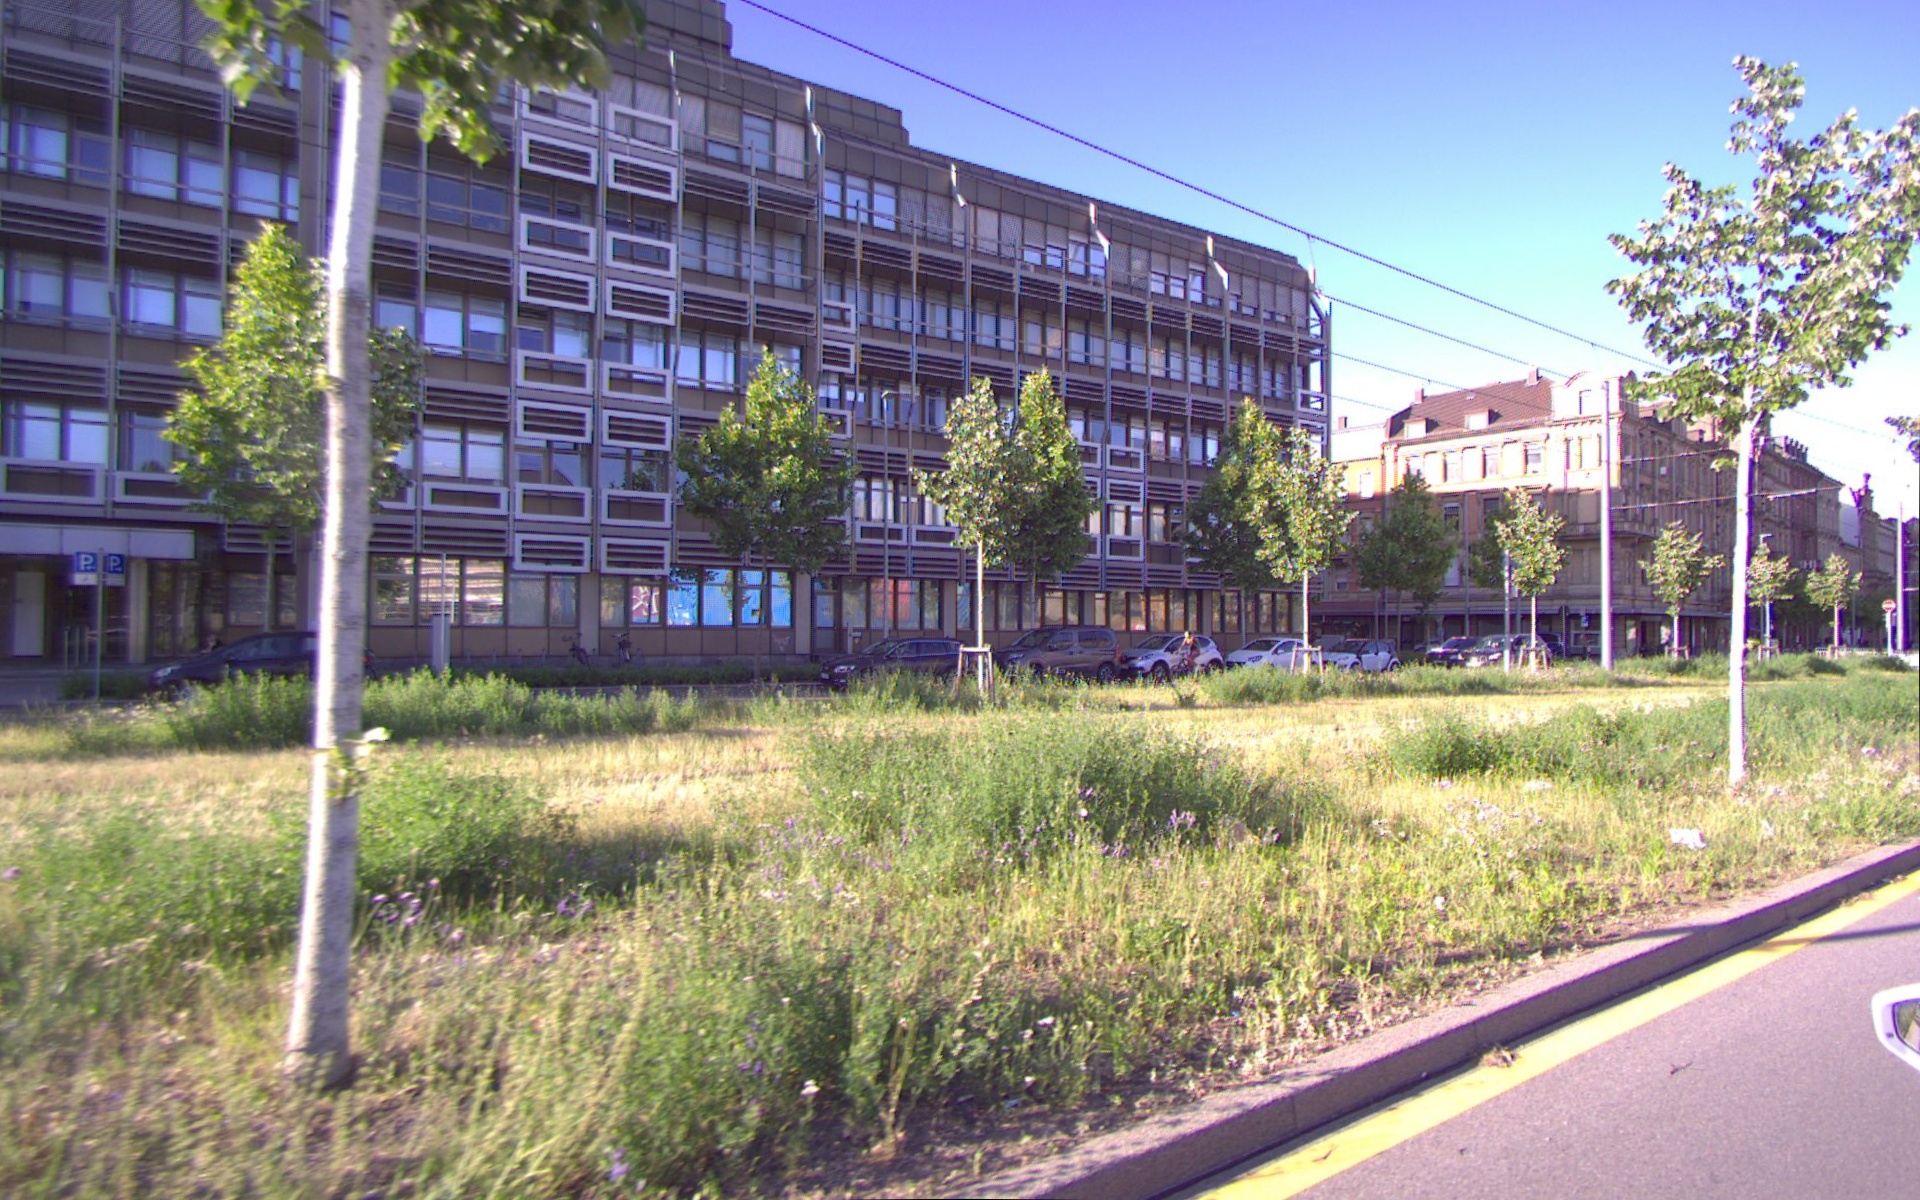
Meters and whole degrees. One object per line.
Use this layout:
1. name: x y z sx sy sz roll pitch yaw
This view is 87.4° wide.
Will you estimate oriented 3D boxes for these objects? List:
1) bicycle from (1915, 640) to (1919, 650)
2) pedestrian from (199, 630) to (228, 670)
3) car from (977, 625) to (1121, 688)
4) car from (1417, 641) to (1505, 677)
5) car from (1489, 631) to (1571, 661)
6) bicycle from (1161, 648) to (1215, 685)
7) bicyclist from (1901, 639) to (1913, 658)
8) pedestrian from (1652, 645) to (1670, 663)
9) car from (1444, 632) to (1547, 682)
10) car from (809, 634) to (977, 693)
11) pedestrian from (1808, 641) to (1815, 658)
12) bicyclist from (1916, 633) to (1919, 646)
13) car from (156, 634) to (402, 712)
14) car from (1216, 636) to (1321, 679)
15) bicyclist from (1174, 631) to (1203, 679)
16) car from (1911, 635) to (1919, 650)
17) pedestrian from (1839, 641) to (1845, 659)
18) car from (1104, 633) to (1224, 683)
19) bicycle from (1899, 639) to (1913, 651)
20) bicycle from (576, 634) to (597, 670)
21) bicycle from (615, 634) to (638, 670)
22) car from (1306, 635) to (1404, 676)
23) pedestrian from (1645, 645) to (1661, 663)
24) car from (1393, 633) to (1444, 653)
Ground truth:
1. bicycle: 91.853 4.301 95.985 2.014 0.869 0.632 2 -2 -39
2. pedestrian: -18.893 1.262 25.427 0.492 0.999 0.614 1 -2 -29
3. car: 2.785 1.711 31.208 4.283 1.795 1.741 1 -1 -32
4. car: 22.406 2.605 44.897 3.856 1.481 1.721 1 0 -32
5. car: 38.529 3.092 67.965 1.885 1.928 4.466 2 -3 -43
6. bicycle: 7.057 2.036 31.104 1.752 1.110 0.562 1 -3 -34
7. bicyclist: 84.163 4.283 89.290 0.875 1.679 0.689 2 -2 -39
8. pedestrian: 49.717 3.814 71.252 0.921 1.224 0.785 2 -2 -39
9. car: 19.981 2.094 37.456 4.079 1.770 1.717 2 -2 -34
10. car: -1.830 1.732 28.161 4.456 1.488 1.719 1 0 -34
11. pedestrian: 81.369 4.734 95.999 0.422 1.606 0.400 2 0 -40
12. bicyclist: 91.792 3.740 95.934 0.732 1.256 0.632 2 -2 -39
13. car: -13.777 1.448 20.601 3.994 1.405 1.707 2 -1 -32
14. car: 11.324 2.081 36.775 3.777 1.460 1.616 2 -1 -32
15. bicyclist: 7.075 1.698 31.102 0.698 1.476 0.562 1 -2 -33
16. car: 104.628 4.573 109.013 4.676 1.583 1.553 2 -2 -40
17. pedestrian: 90.636 5.120 103.232 0.403 1.788 0.364 2 0 -40
18. car: 6.896 1.919 33.885 3.841 1.556 1.728 1 -1 -32
19. bicycle: 83.796 3.976 89.001 1.811 0.991 0.689 2 -2 -39
20. bicycle: -11.517 1.598 30.967 0.419 1.086 1.868 1 -2 -26
21. bicycle: -10.503 1.635 31.620 0.419 1.086 1.922 1 -2 -26
22. car: 15.799 2.197 40.138 3.922 1.574 1.640 2 -2 -32
23. pedestrian: 48.268 3.769 69.960 0.921 1.263 0.685 2 -2 -39
24. car: 33.493 3.133 73.384 1.374 1.487 3.114 2 -3 -43
